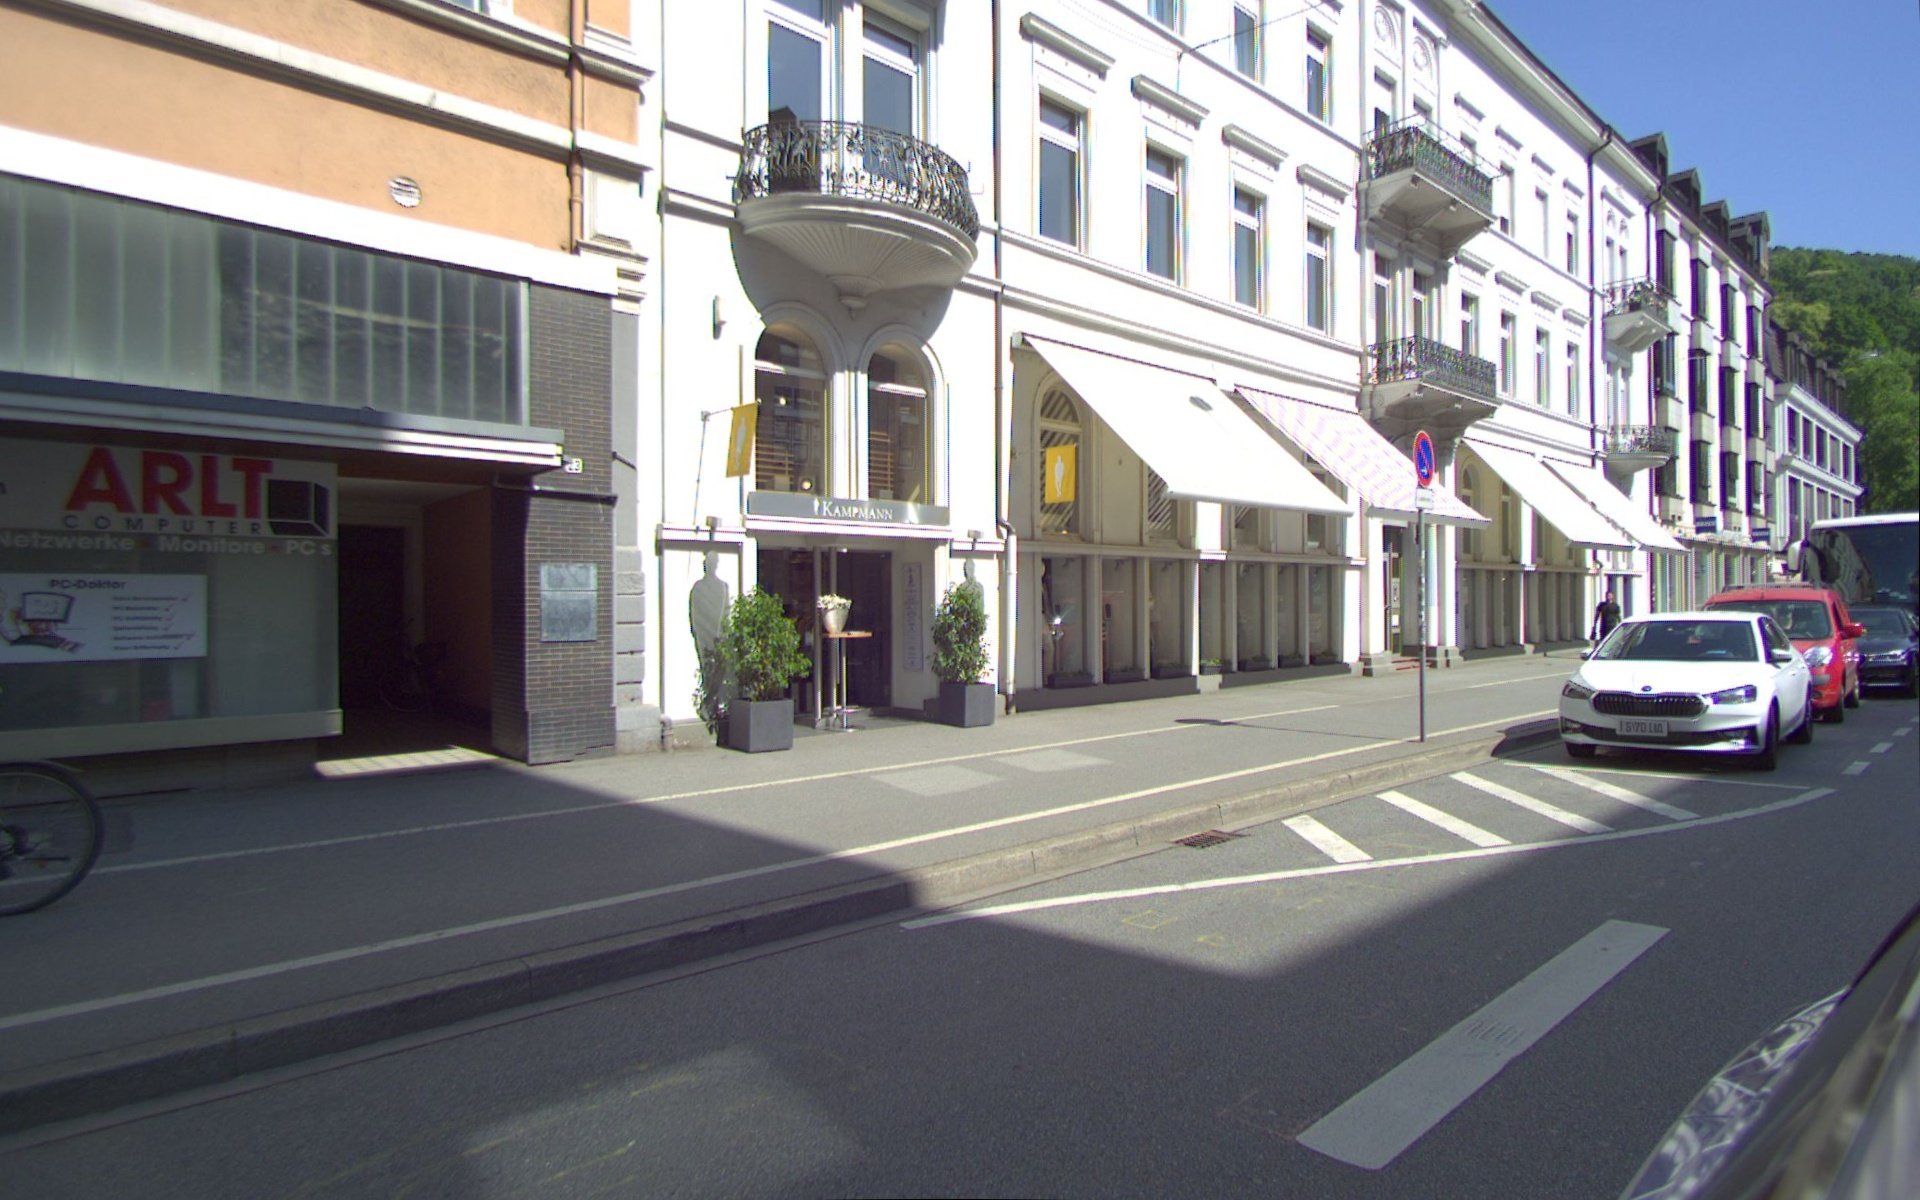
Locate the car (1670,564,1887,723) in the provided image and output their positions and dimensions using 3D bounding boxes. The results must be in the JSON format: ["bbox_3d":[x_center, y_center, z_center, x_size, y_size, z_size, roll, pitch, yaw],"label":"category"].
[{"bbox_3d":[11.844,0.593,14.523,4.530,1.937,1.699,0,-5,-43],"label":"car"}]

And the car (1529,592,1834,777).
[{"bbox_3d":[7.735,0.737,10.688,4.193,1.544,1.795,-1,-2,-43],"label":"car"}]

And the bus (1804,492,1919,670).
[{"bbox_3d":[23.594,-0.444,24.841,12.290,3.580,2.920,-1,1,-43],"label":"bus"}]

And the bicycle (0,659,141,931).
[{"bbox_3d":[-4.798,0.881,4.398,1.885,1.132,0.747,0,0,-43],"label":"bicycle"}]

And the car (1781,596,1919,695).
[{"bbox_3d":[15.772,0.707,17.506,4.340,1.506,1.865,0,-1,-43],"label":"car"}]
